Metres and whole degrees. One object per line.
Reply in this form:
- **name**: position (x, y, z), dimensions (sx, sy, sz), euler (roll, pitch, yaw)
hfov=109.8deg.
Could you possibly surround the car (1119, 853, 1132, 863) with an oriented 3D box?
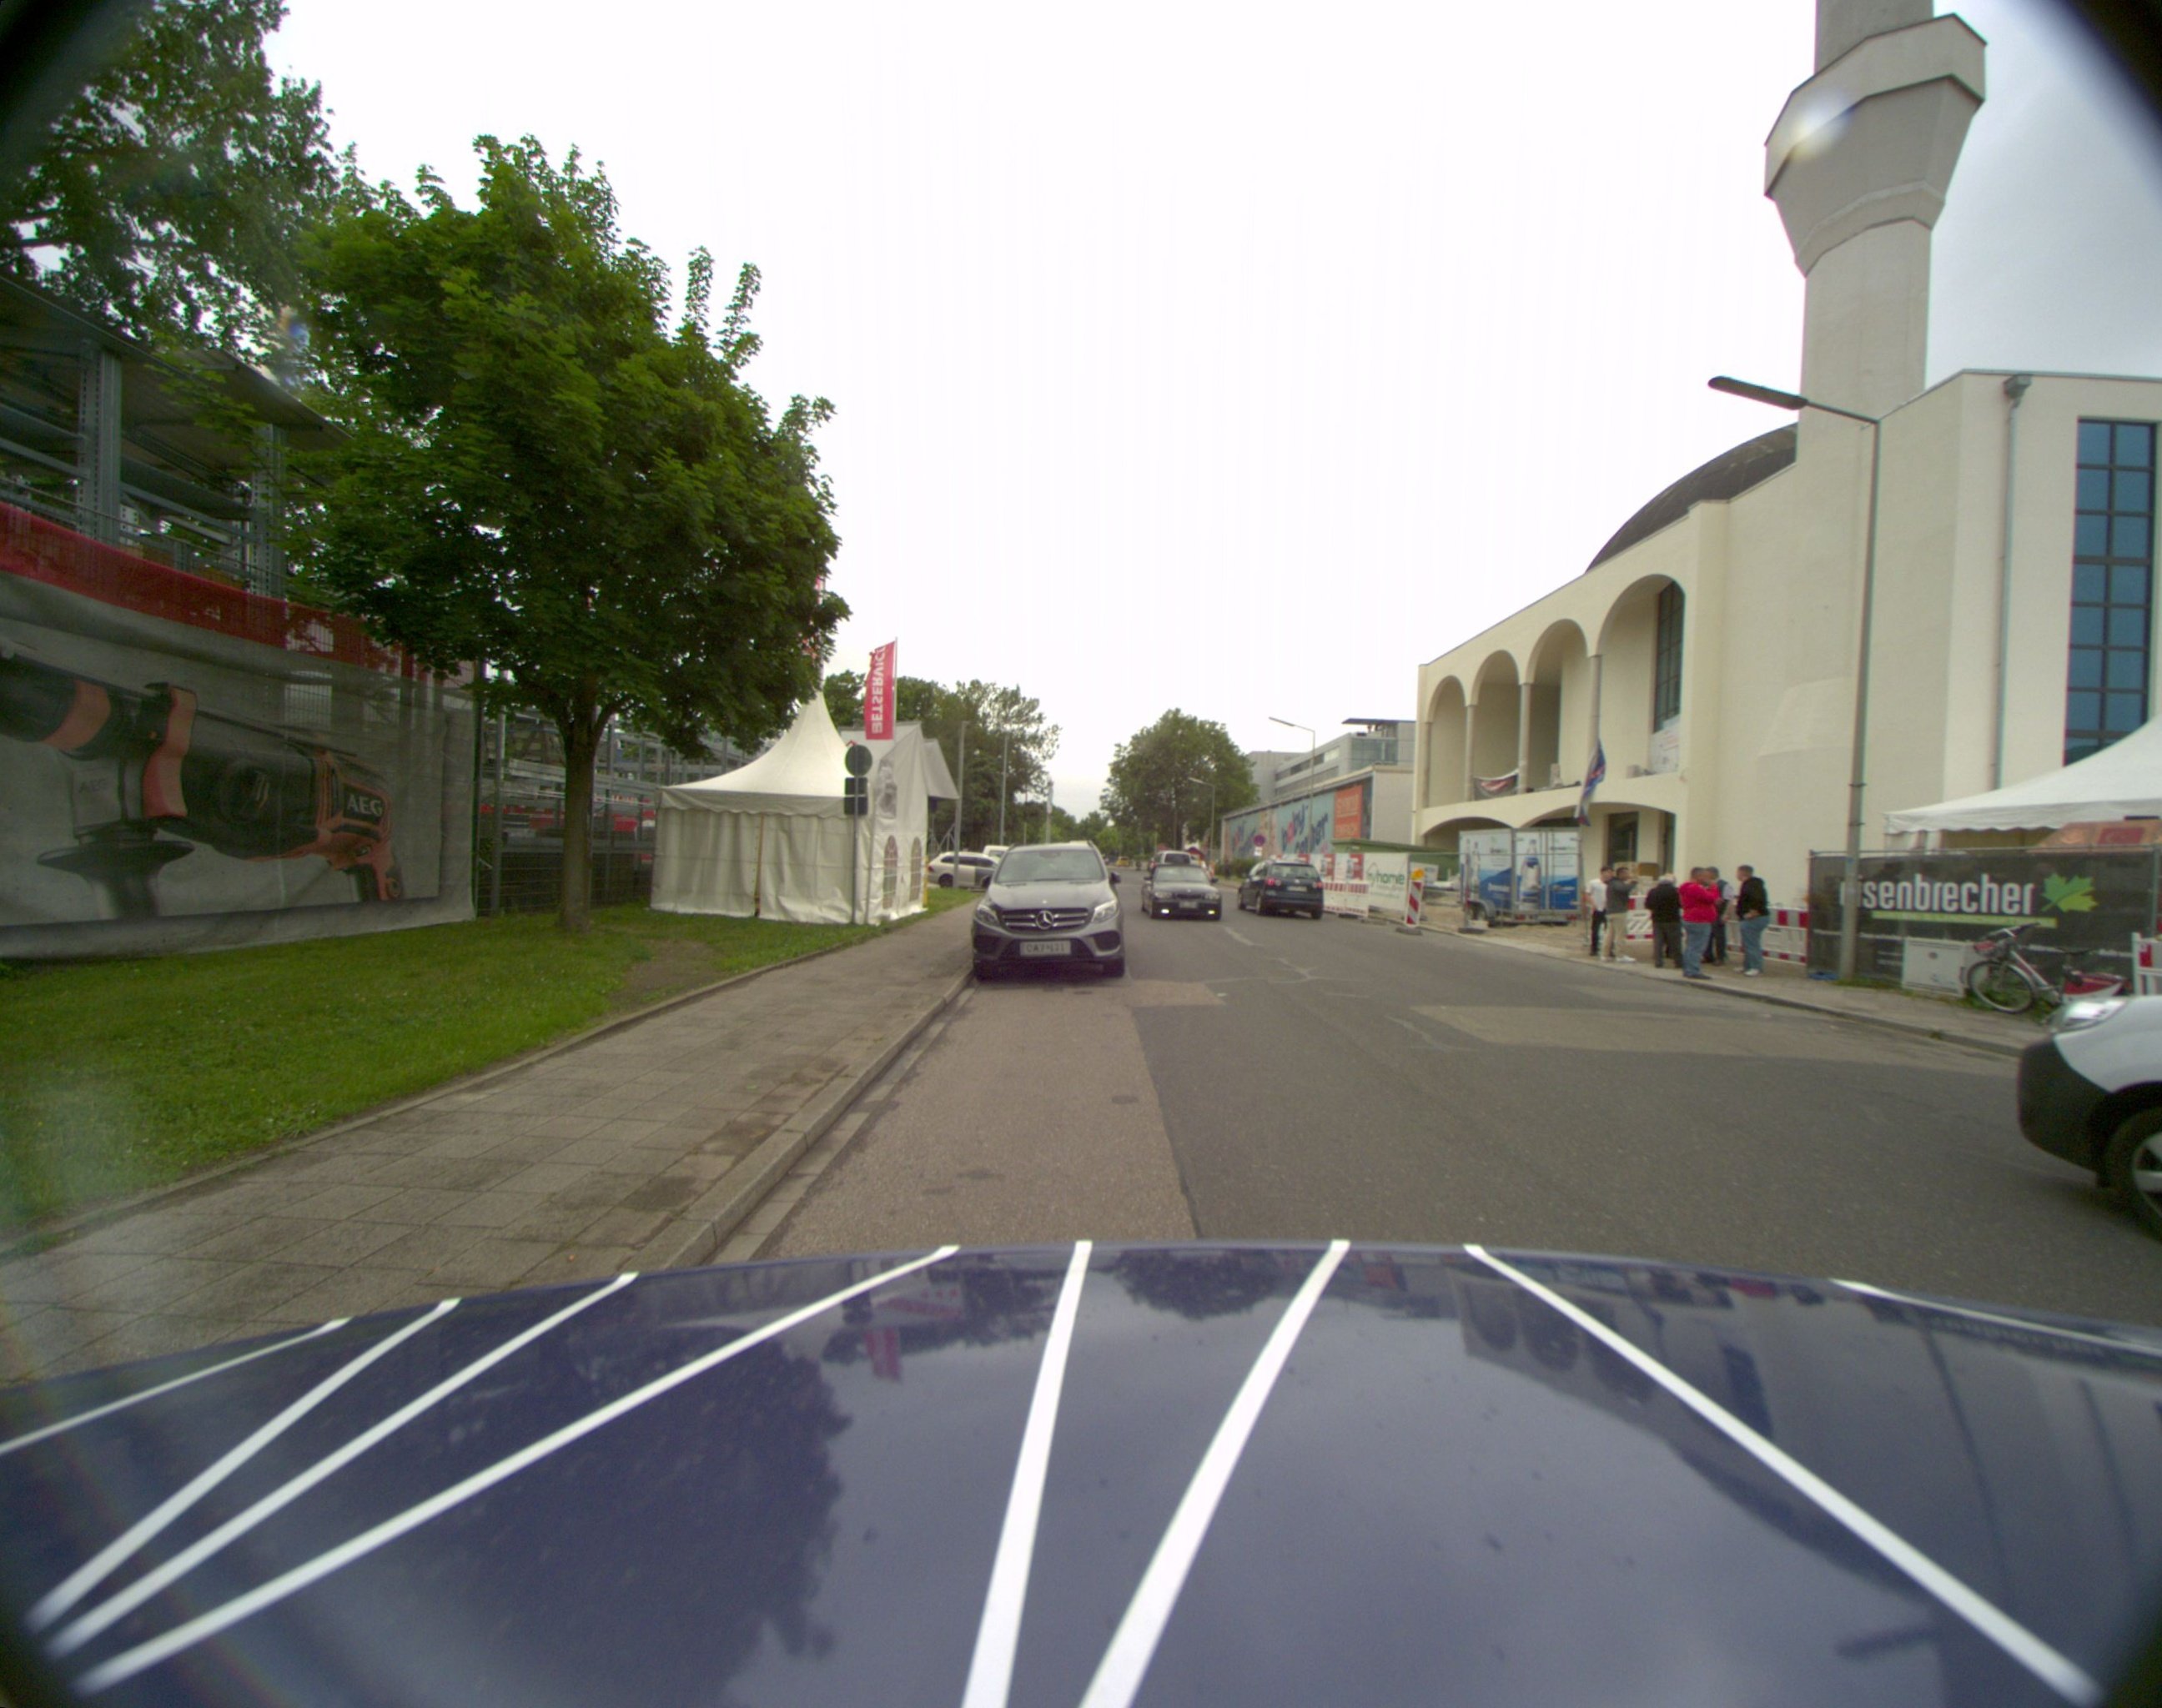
- **car**: position (7.042, 0.593, 119.932), dimensions (1.929, 1.565, 4.000), euler (3, 0, 1)

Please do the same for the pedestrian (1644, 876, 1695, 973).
- **pedestrian**: position (10.144, 1.196, 13.100), dimensions (0.492, 1.602, 0.570), euler (1, 1, -44)

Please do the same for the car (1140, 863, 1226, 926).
- **car**: position (2.540, 0.980, 19.784), dimensions (1.750, 1.351, 4.137), euler (0, 1, 1)

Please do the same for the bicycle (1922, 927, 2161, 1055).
- **bicycle**: position (10.813, 1.475, 8.626), dimensions (0.545, 1.071, 1.902), euler (2, 1, 7)

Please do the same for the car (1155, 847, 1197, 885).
- **car**: position (5.630, 0.657, 45.492), dimensions (1.931, 2.002, 4.955), euler (2, 1, 1)

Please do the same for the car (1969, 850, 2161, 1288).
- **car**: position (5.162, 0.895, 1.614), dimensions (1.694, 1.750, 4.135), euler (2, 0, 1)

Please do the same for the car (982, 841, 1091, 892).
- **car**: position (-1.838, 0.519, 32.166), dimensions (4.380, 1.797, 1.800), euler (4, 1, -1)

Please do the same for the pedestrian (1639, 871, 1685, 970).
- **pedestrian**: position (10.676, 1.203, 13.962), dimensions (0.492, 1.739, 0.527), euler (1, 1, -44)

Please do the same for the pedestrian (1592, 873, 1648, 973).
- **pedestrian**: position (9.878, 1.244, 13.922), dimensions (0.492, 1.739, 0.689), euler (1, 1, -44)

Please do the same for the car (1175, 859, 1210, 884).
- **car**: position (8.179, 1.279, 56.158), dimensions (1.929, 1.565, 4.149), euler (5, 0, 1)

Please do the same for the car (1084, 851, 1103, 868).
- **car**: position (1.371, 0.605, 84.849), dimensions (1.998, 1.739, 4.000), euler (2, 0, 1)

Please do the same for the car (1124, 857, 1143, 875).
- **car**: position (6.200, 1.438, 89.469), dimensions (1.998, 2.002, 3.999), euler (0, 1, 1)

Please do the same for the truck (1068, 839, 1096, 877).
- **truck**: position (0.099, 0.268, 53.726), dimensions (1.853, 2.597, 4.000), euler (-1, 0, 0)

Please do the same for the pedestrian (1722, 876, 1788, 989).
- **pedestrian**: position (10.671, 1.212, 12.026), dimensions (0.694, 1.707, 0.689), euler (-2, -2, 45)

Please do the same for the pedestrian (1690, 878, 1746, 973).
- **pedestrian**: position (11.122, 1.233, 13.284), dimensions (0.540, 1.602, 0.491), euler (1, 1, 7)

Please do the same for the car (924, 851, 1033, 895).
- **car**: position (-3.872, 0.676, 28.930), dimensions (3.683, 1.575, 1.778), euler (1, 0, 14)

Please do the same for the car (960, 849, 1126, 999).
- **car**: position (-0.395, 0.812, 11.124), dimensions (1.913, 1.731, 4.480), euler (-1, 0, 1)

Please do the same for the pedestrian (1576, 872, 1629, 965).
- **pedestrian**: position (10.143, 1.234, 14.777), dimensions (0.492, 1.739, 0.689), euler (1, 1, -44)

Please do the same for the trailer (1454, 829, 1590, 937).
- **trailer**: position (11.665, 0.702, 20.361), dimensions (1.802, 2.591, 3.192), euler (2, 0, 4)

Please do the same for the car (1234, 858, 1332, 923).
- **car**: position (5.681, 0.969, 21.882), dimensions (1.733, 1.562, 3.946), euler (4, 0, 1)

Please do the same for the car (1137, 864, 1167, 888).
- **car**: position (5.815, 1.753, 62.578), dimensions (1.964, 1.652, 4.653), euler (4, 0, 1)

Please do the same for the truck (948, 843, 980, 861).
- **truck**: position (-16.245, -0.262, 106.027), dimensions (1.994, 2.383, 4.009), euler (3, 1, 40)

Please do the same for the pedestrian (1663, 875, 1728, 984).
- **pedestrian**: position (9.517, 1.155, 11.778), dimensions (0.492, 1.602, 0.539), euler (3, 1, -28)
